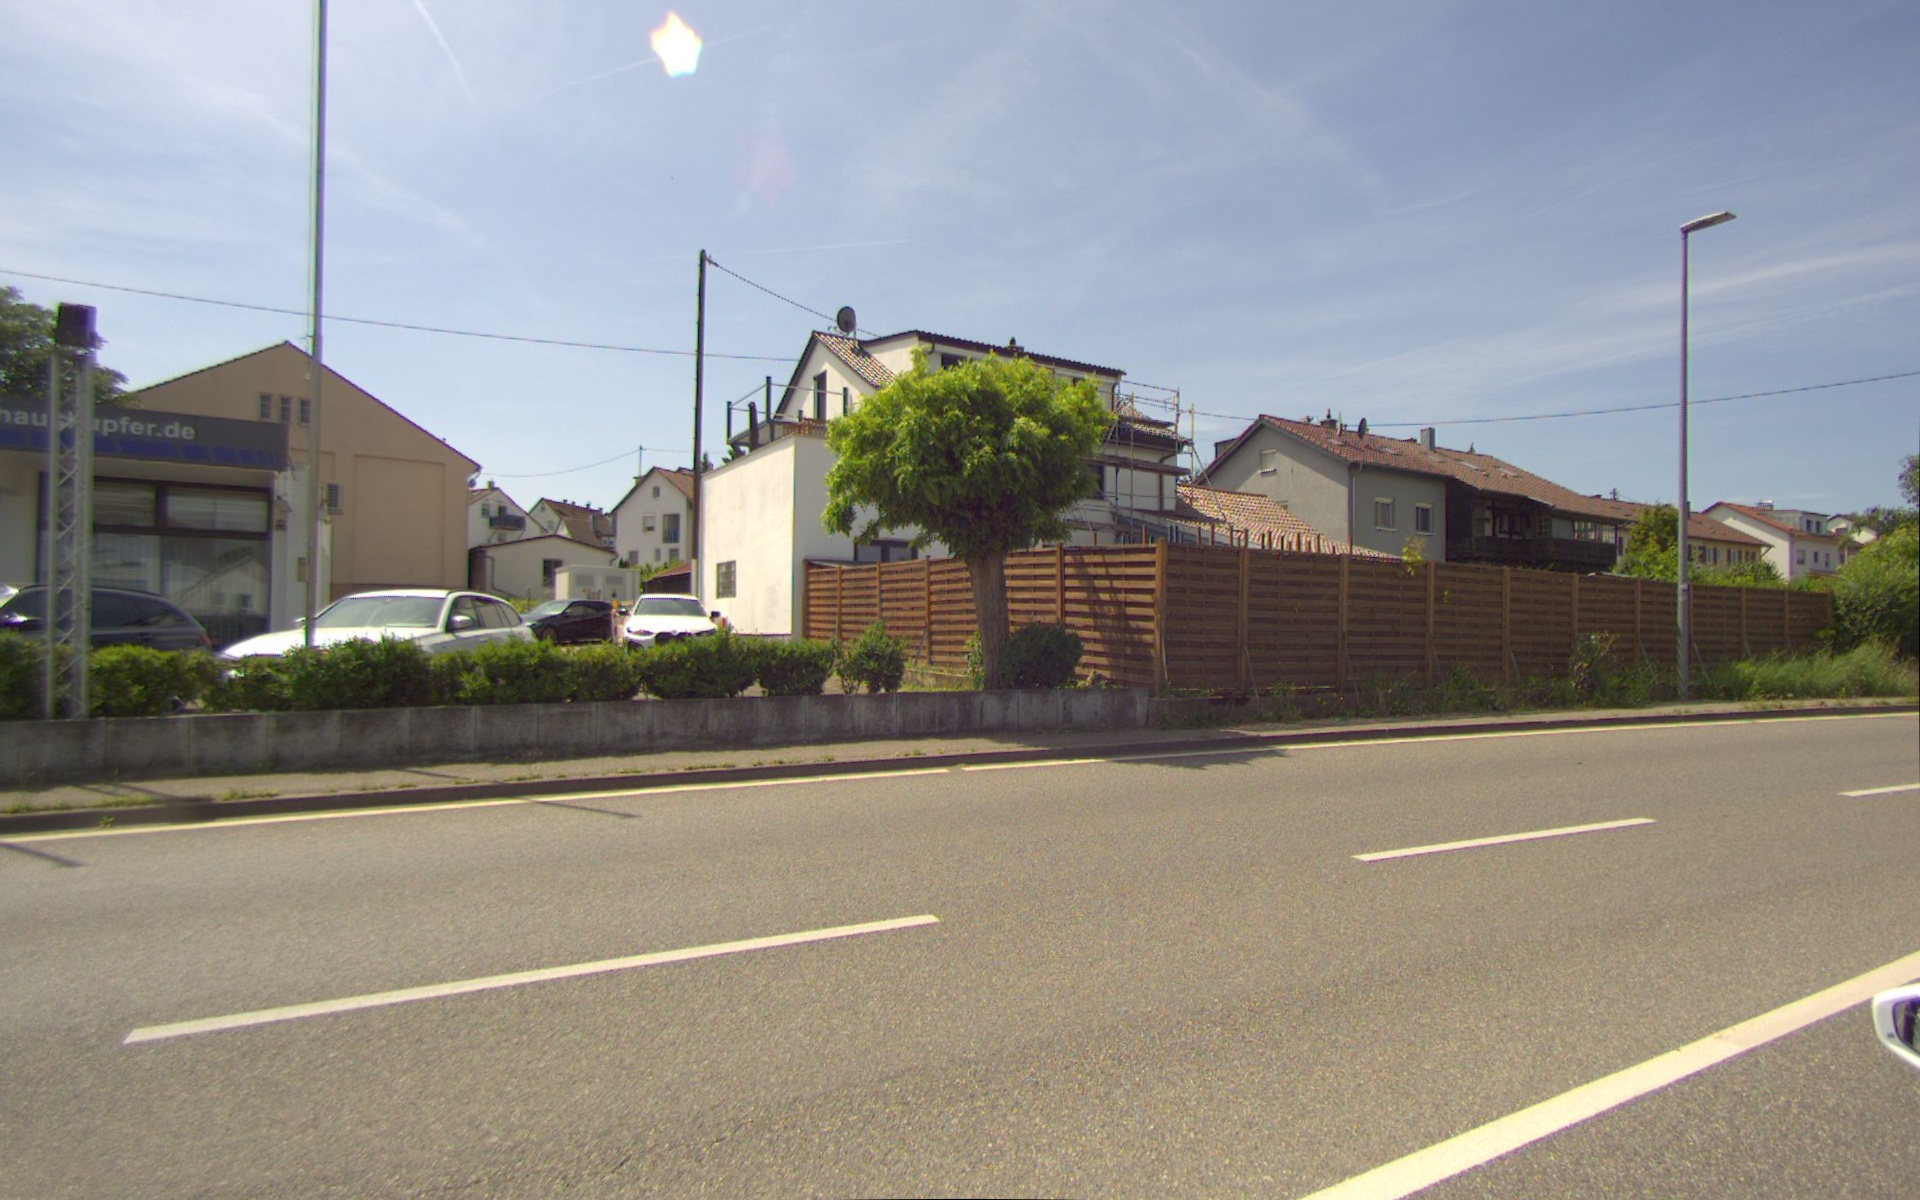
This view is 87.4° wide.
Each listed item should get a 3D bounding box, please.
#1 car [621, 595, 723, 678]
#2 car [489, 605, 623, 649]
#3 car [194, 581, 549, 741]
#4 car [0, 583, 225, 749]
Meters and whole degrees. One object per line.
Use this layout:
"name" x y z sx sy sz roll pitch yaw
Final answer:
"car" -5.943 0.678 20.696 1.805 1.530 3.985 1 0 -17
"car" -12.885 0.818 32.275 1.756 1.238 3.999 2 1 21
"car" -6.443 0.590 11.677 1.822 1.467 4.339 2 0 -5
"car" -9.597 0.575 9.830 1.863 1.467 4.339 2 0 -5
